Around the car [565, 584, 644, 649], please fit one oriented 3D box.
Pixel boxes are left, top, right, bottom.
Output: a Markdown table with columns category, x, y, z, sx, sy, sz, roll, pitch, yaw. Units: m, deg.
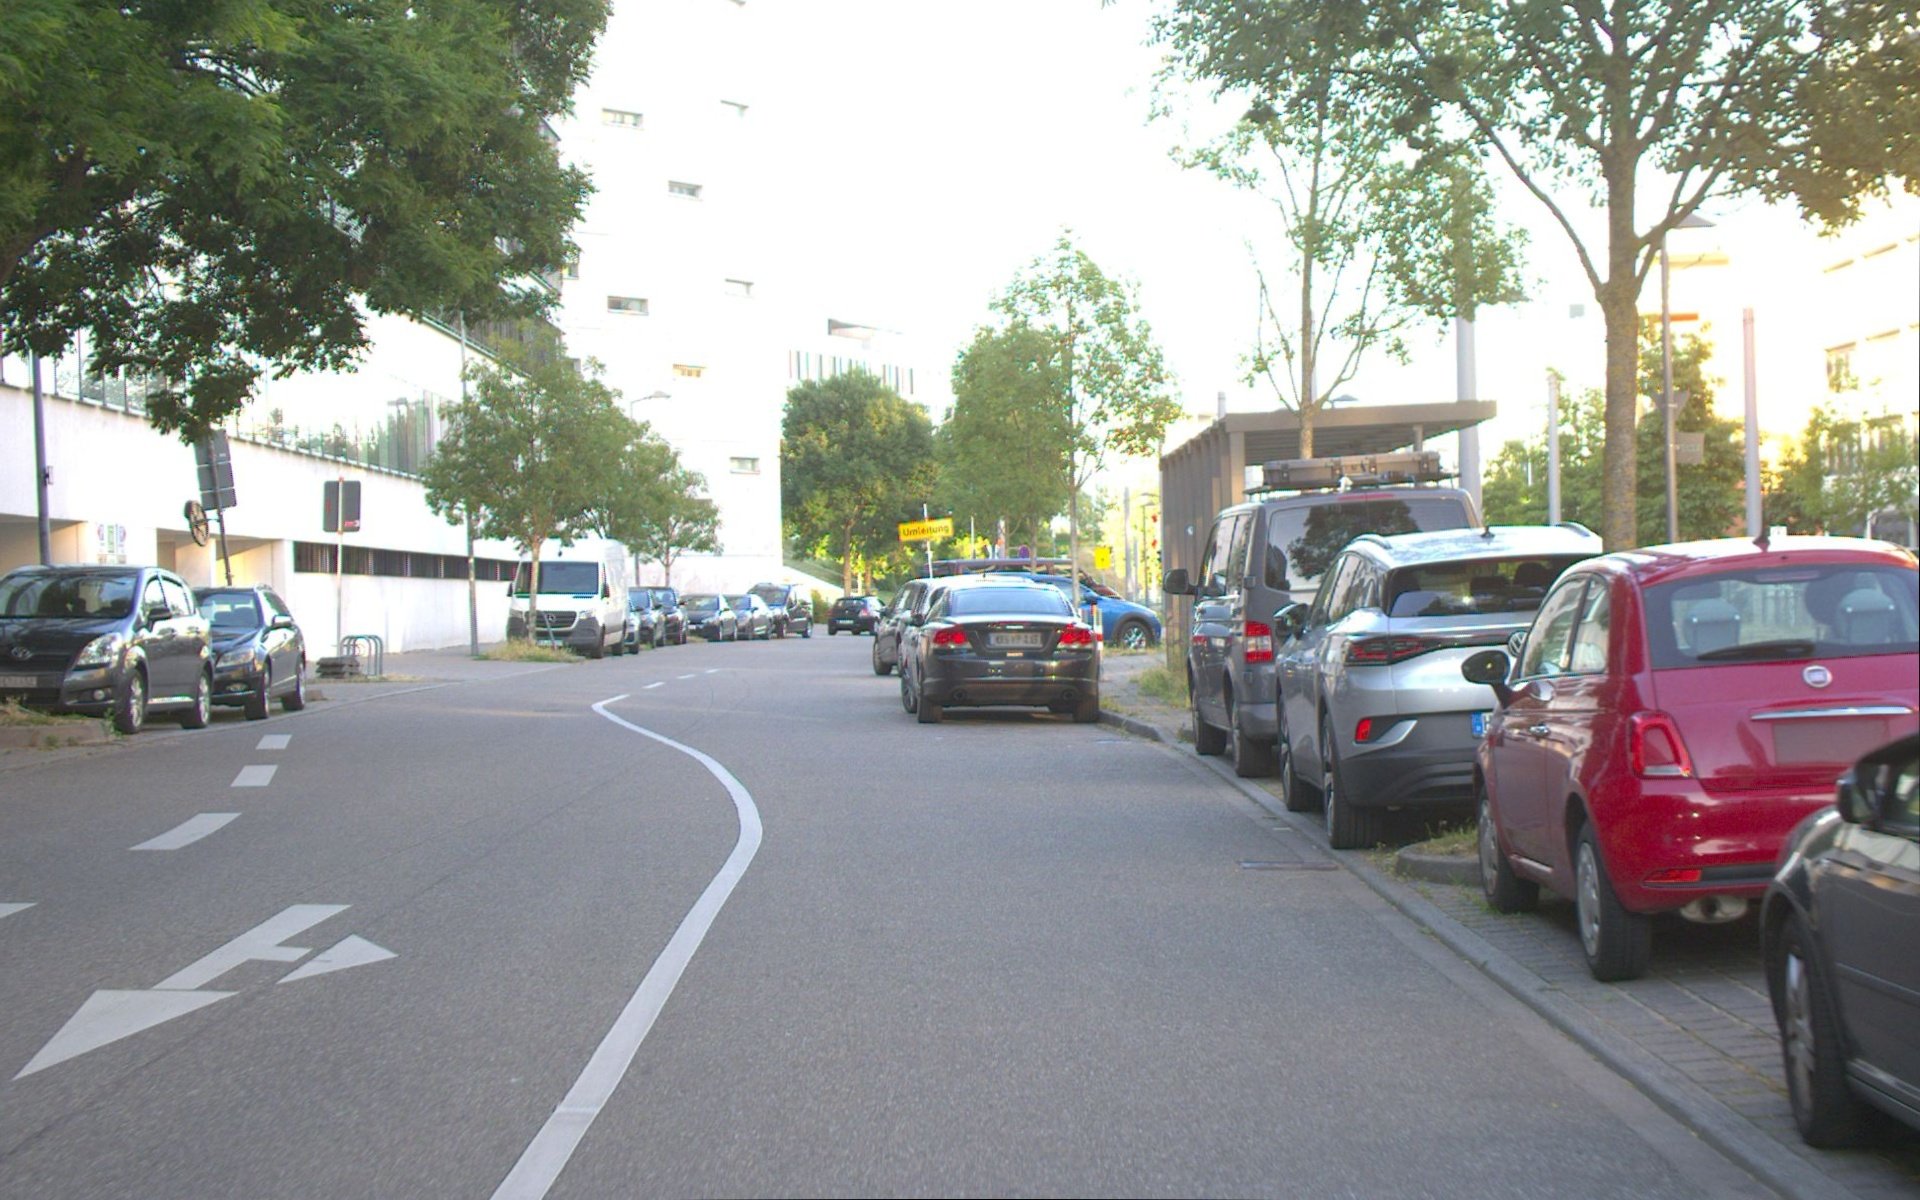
| category | x | y | z | sx | sy | sz | roll | pitch | yaw |
| --- | --- | --- | --- | --- | --- | --- | --- | --- | --- |
| car | -8.316 | 0.368 | 80.690 | 1.755 | 1.435 | 3.902 | 1 | 0 | -5 |

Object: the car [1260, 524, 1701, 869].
| category | x | y | z | sx | sy | sz | roll | pitch | yaw |
| --- | --- | --- | --- | --- | --- | --- | --- | --- | --- |
| car | 2.693 | 0.457 | 18.747 | 1.707 | 1.575 | 4.479 | -3 | 0 | 1 |

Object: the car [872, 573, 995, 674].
| category | x | y | z | sx | sy | sz | roll | pitch | yaw |
| --- | --- | --- | --- | --- | --- | --- | --- | --- | --- |
| car | -0.443 | 0.364 | 52.805 | 1.731 | 1.461 | 4.000 | 1 | -1 | -2 |

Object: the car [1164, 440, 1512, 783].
| category | x | y | z | sx | sy | sz | roll | pitch | yaw |
| --- | --- | --- | --- | --- | --- | --- | --- | --- | --- |
| car | 2.628 | 0.073 | 25.005 | 1.804 | 2.169 | 4.736 | -3 | 0 | -1 |

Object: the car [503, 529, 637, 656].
| category | x | y | z | sx | sy | sz | roll | pitch | yaw |
| --- | --- | --- | --- | --- | --- | --- | --- | --- | --- |
| car | -8.377 | -0.181 | 74.442 | 1.958 | 2.608 | 6.892 | 1 | 0 | 1 |

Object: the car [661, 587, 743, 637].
| category | x | y | z | sx | sy | sz | roll | pitch | yaw |
| --- | --- | --- | --- | --- | --- | --- | --- | --- | --- |
| car | -7.782 | 0.339 | 104.028 | 1.723 | 1.452 | 4.270 | 1 | 0 | 6 |

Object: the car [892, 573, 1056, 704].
| category | x | y | z | sx | sy | sz | roll | pitch | yaw |
| --- | --- | --- | --- | --- | --- | --- | --- | --- | --- |
| car | 0.118 | 0.432 | 40.993 | 1.676 | 1.447 | 4.188 | -1 | 0 | -3 |

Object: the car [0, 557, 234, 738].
| category | x | y | z | sx | sy | sz | roll | pitch | yaw |
| --- | --- | --- | --- | --- | --- | --- | --- | --- | --- |
| car | -8.214 | 0.409 | 32.374 | 1.844 | 1.566 | 4.267 | -1 | 0 | 0 |

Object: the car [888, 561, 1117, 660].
| category | x | y | z | sx | sy | sz | roll | pitch | yaw |
| --- | --- | --- | --- | --- | --- | --- | --- | --- | --- |
| car | 0.921 | 0.213 | 73.084 | 4.588 | 2.028 | 1.871 | 0 | 0 | -34 |

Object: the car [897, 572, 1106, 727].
| category | x | y | z | sx | sy | sz | roll | pitch | yaw |
| --- | --- | --- | --- | --- | --- | --- | --- | --- | --- |
| car | 0.354 | 0.456 | 35.095 | 1.787 | 1.447 | 4.516 | -1 | 0 | -4 |

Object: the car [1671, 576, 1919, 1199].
| category | x | y | z | sx | sy | sz | roll | pitch | yaw |
| --- | --- | --- | --- | --- | --- | --- | --- | --- | --- |
| car | 2.848 | 0.652 | 7.273 | 1.707 | 1.446 | 4.000 | -3 | 0 | -1 |

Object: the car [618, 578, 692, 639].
| category | x | y | z | sx | sy | sz | roll | pitch | yaw |
| --- | --- | --- | --- | --- | --- | --- | --- | --- | --- |
| car | -8.476 | 0.217 | 95.855 | 1.756 | 1.648 | 3.949 | 1 | 0 | -1 |

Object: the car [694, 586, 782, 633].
| category | x | y | z | sx | sy | sz | roll | pitch | yaw |
| --- | --- | --- | --- | --- | --- | --- | --- | --- | --- |
| car | -7.046 | 0.284 | 109.617 | 1.723 | 1.452 | 4.692 | 1 | 0 | 10 |

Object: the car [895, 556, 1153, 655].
| category | x | y | z | sx | sy | sz | roll | pitch | yaw |
| --- | --- | --- | --- | --- | --- | --- | --- | --- | --- |
| car | 1.101 | 0.093 | 58.644 | 3.988 | 1.515 | 1.927 | -2 | -1 | -35 |

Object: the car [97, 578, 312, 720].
| category | x | y | z | sx | sy | sz | roll | pitch | yaw |
| --- | --- | --- | --- | --- | --- | --- | --- | --- | --- |
| car | -8.264 | 0.500 | 37.934 | 1.714 | 1.447 | 4.400 | -1 | 0 | -5 |

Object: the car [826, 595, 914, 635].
| category | x | y | z | sx | sy | sz | roll | pitch | yaw |
| --- | --- | --- | --- | --- | --- | --- | --- | --- | --- |
| car | -3.258 | 0.520 | 125.070 | 1.945 | 1.378 | 4.396 | 1 | 0 | 16 |

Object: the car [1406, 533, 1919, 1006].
| category | x | y | z | sx | sy | sz | roll | pitch | yaw |
| --- | --- | --- | --- | --- | --- | --- | --- | --- | --- |
| car | 2.923 | 0.532 | 13.294 | 1.707 | 1.488 | 4.131 | -3 | 0 | -1 |
